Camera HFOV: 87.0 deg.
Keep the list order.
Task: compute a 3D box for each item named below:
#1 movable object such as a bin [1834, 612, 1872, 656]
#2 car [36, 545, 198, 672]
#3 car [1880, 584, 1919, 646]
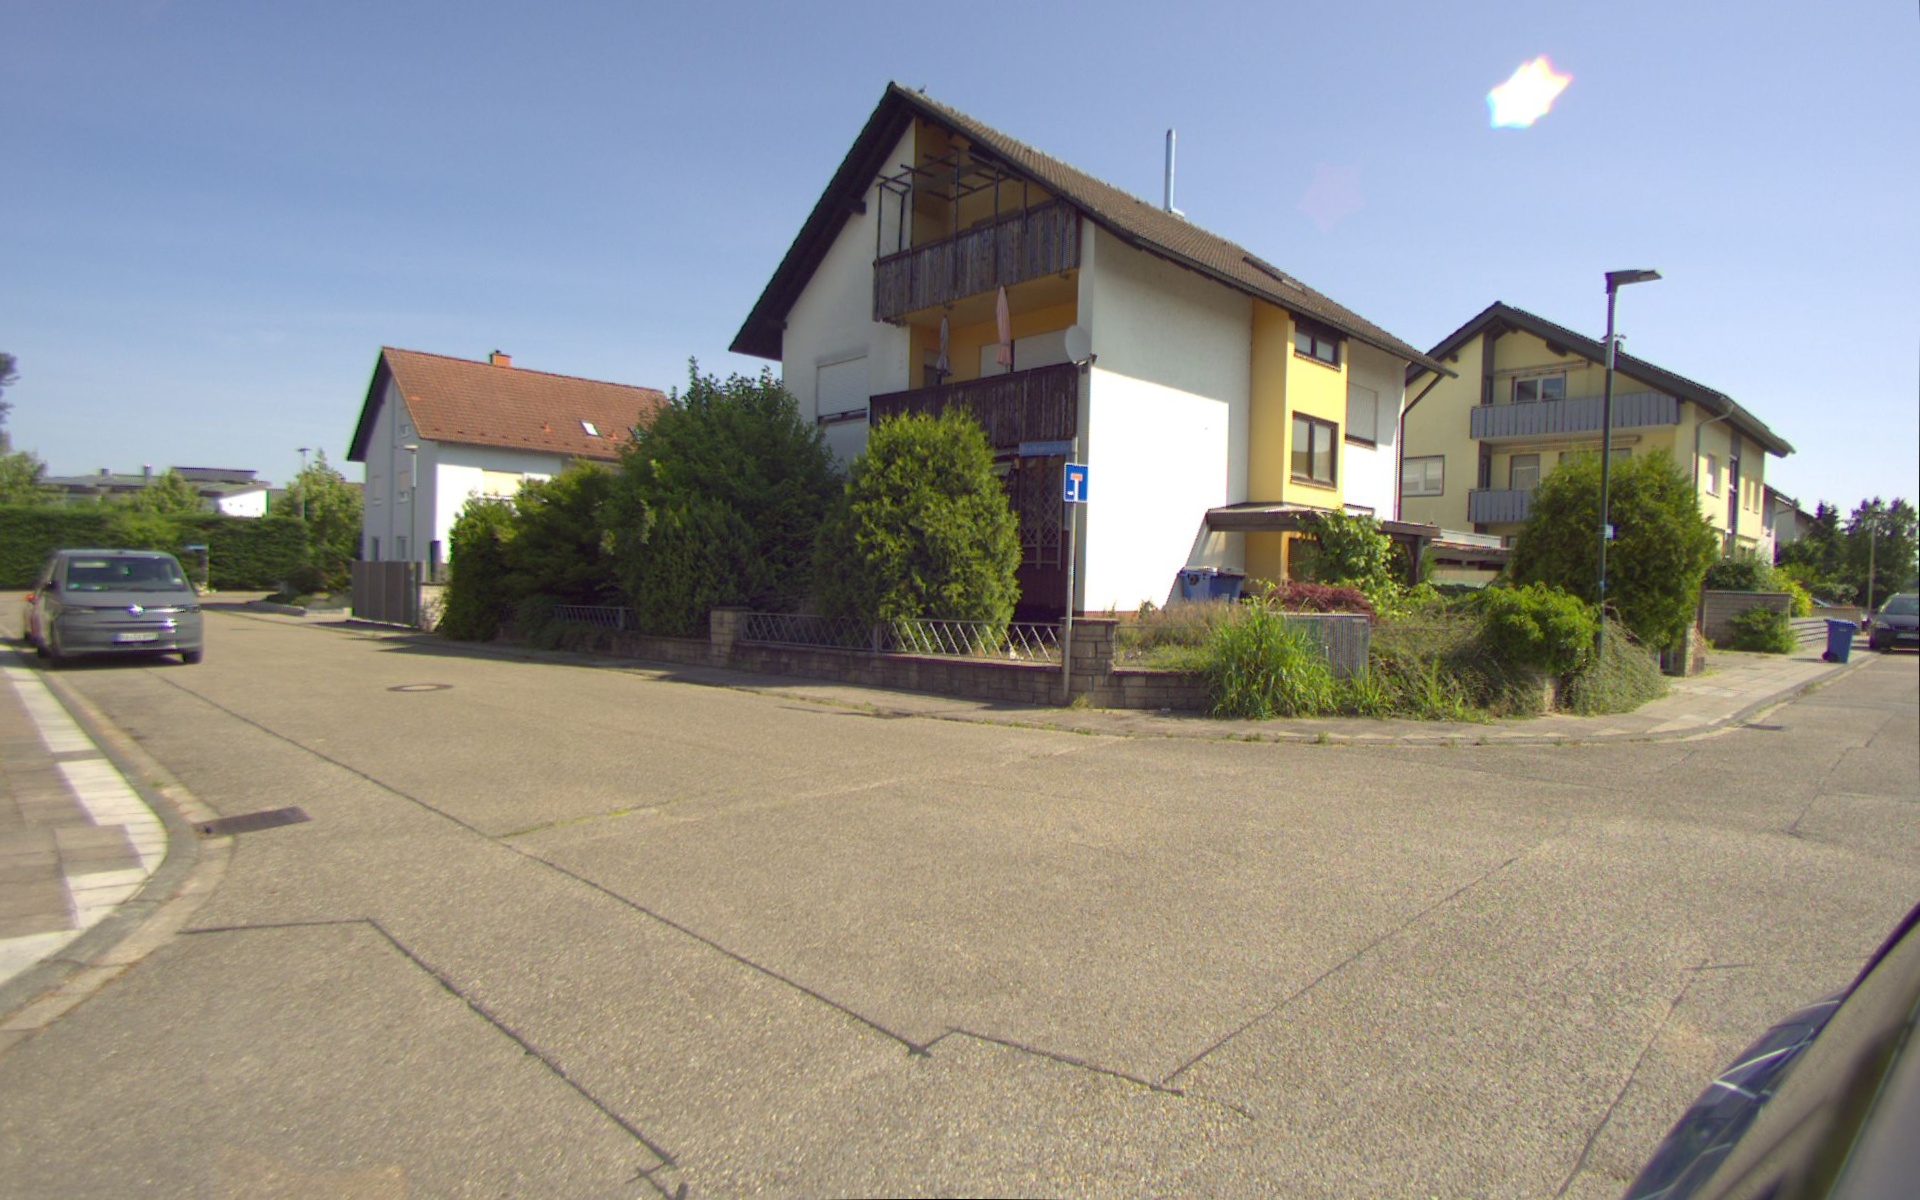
[{"bbox_3d":[19.794,0.744,22.427,0.588,0.928,0.583,0,1,-45],"label":"movable object such as a bin"},{"bbox_3d":[-14.517,0.043,17.338,1.875,1.893,4.362,0,2,-43],"label":"car"},{"bbox_3d":[27.119,0.424,28.343,3.932,1.646,1.630,1,1,-43],"label":"car"}]
